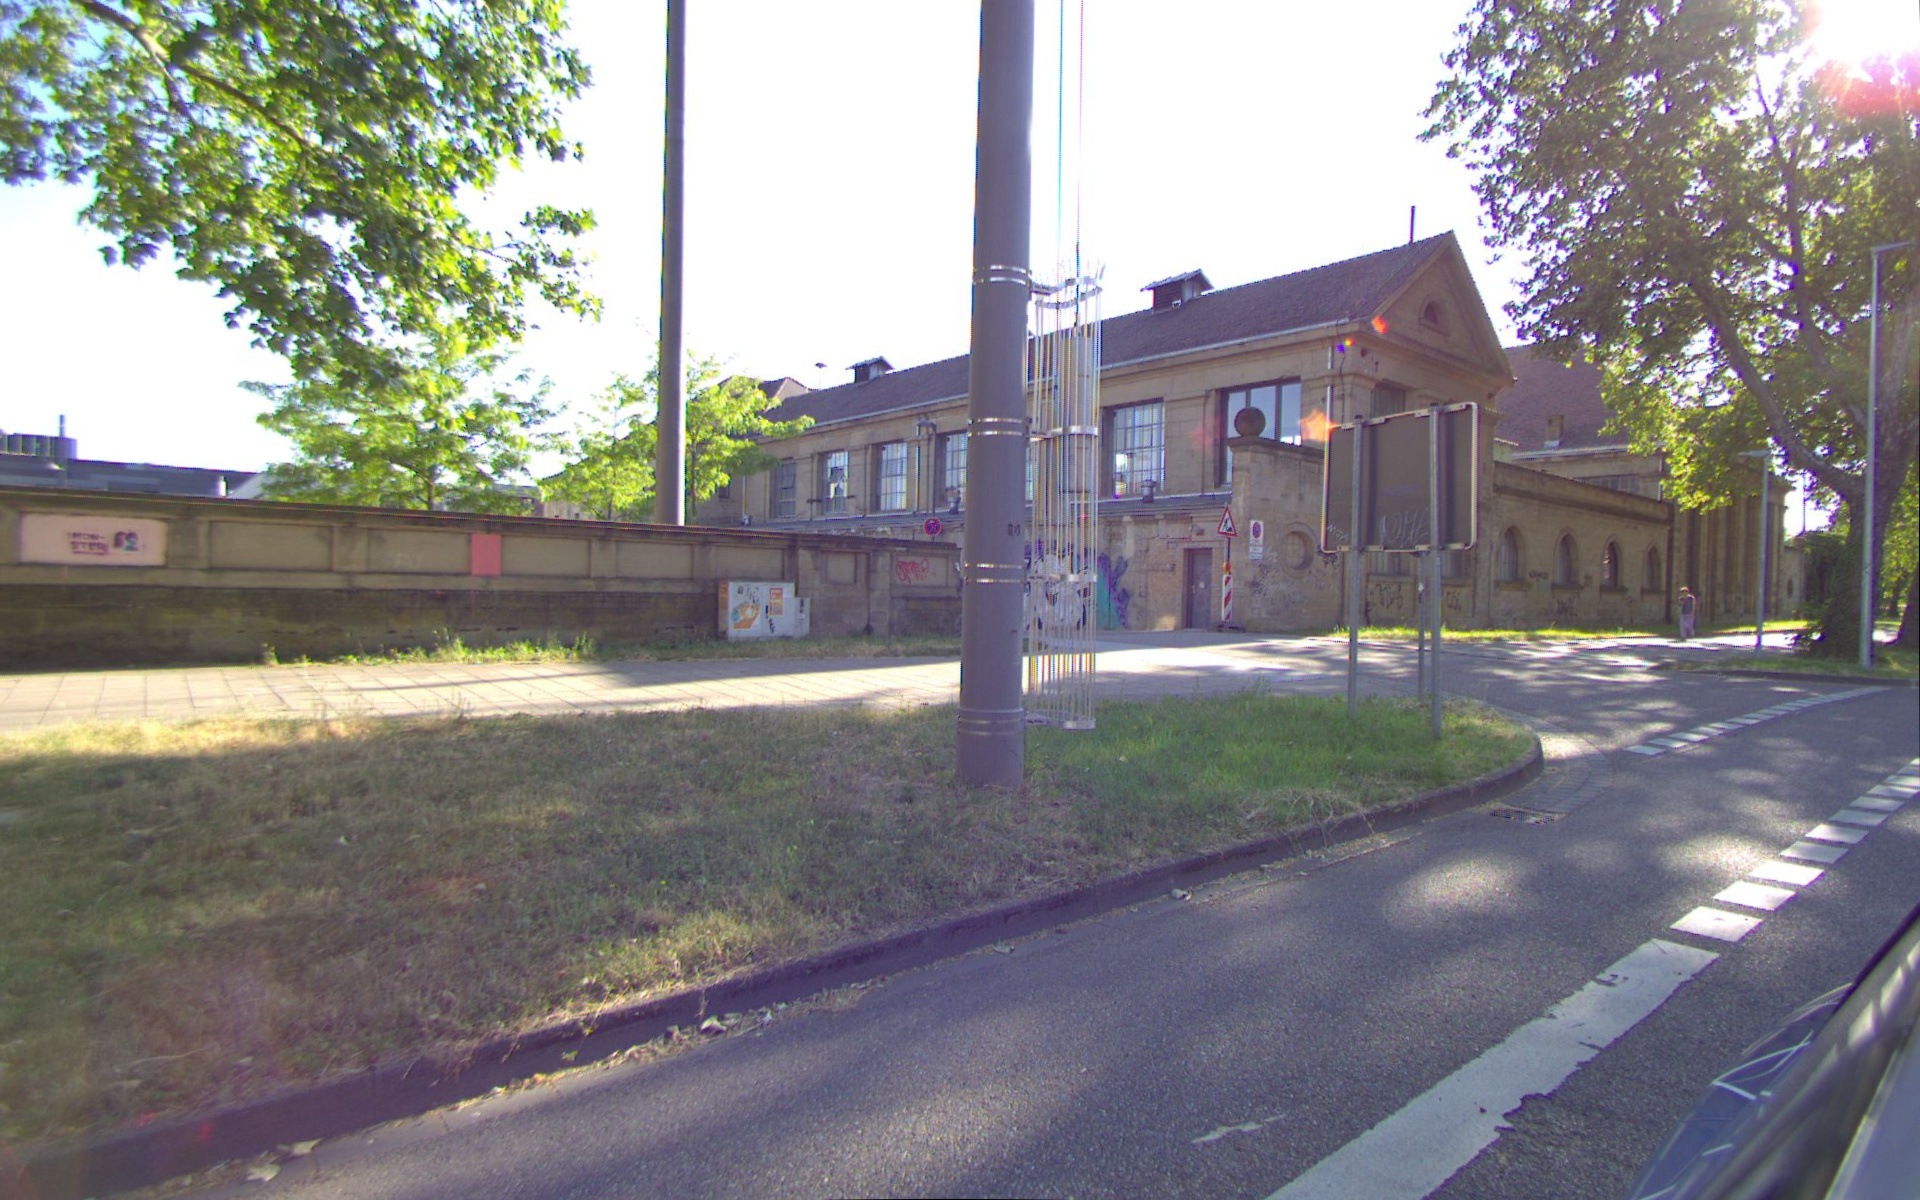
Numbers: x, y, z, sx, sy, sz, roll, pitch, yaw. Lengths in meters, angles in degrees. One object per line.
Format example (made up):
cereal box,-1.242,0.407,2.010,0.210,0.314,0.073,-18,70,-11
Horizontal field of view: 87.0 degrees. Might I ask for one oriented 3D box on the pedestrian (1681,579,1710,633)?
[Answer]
pedestrian,23.662,0.171,32.578,0.668,1.682,0.863,3,2,36
